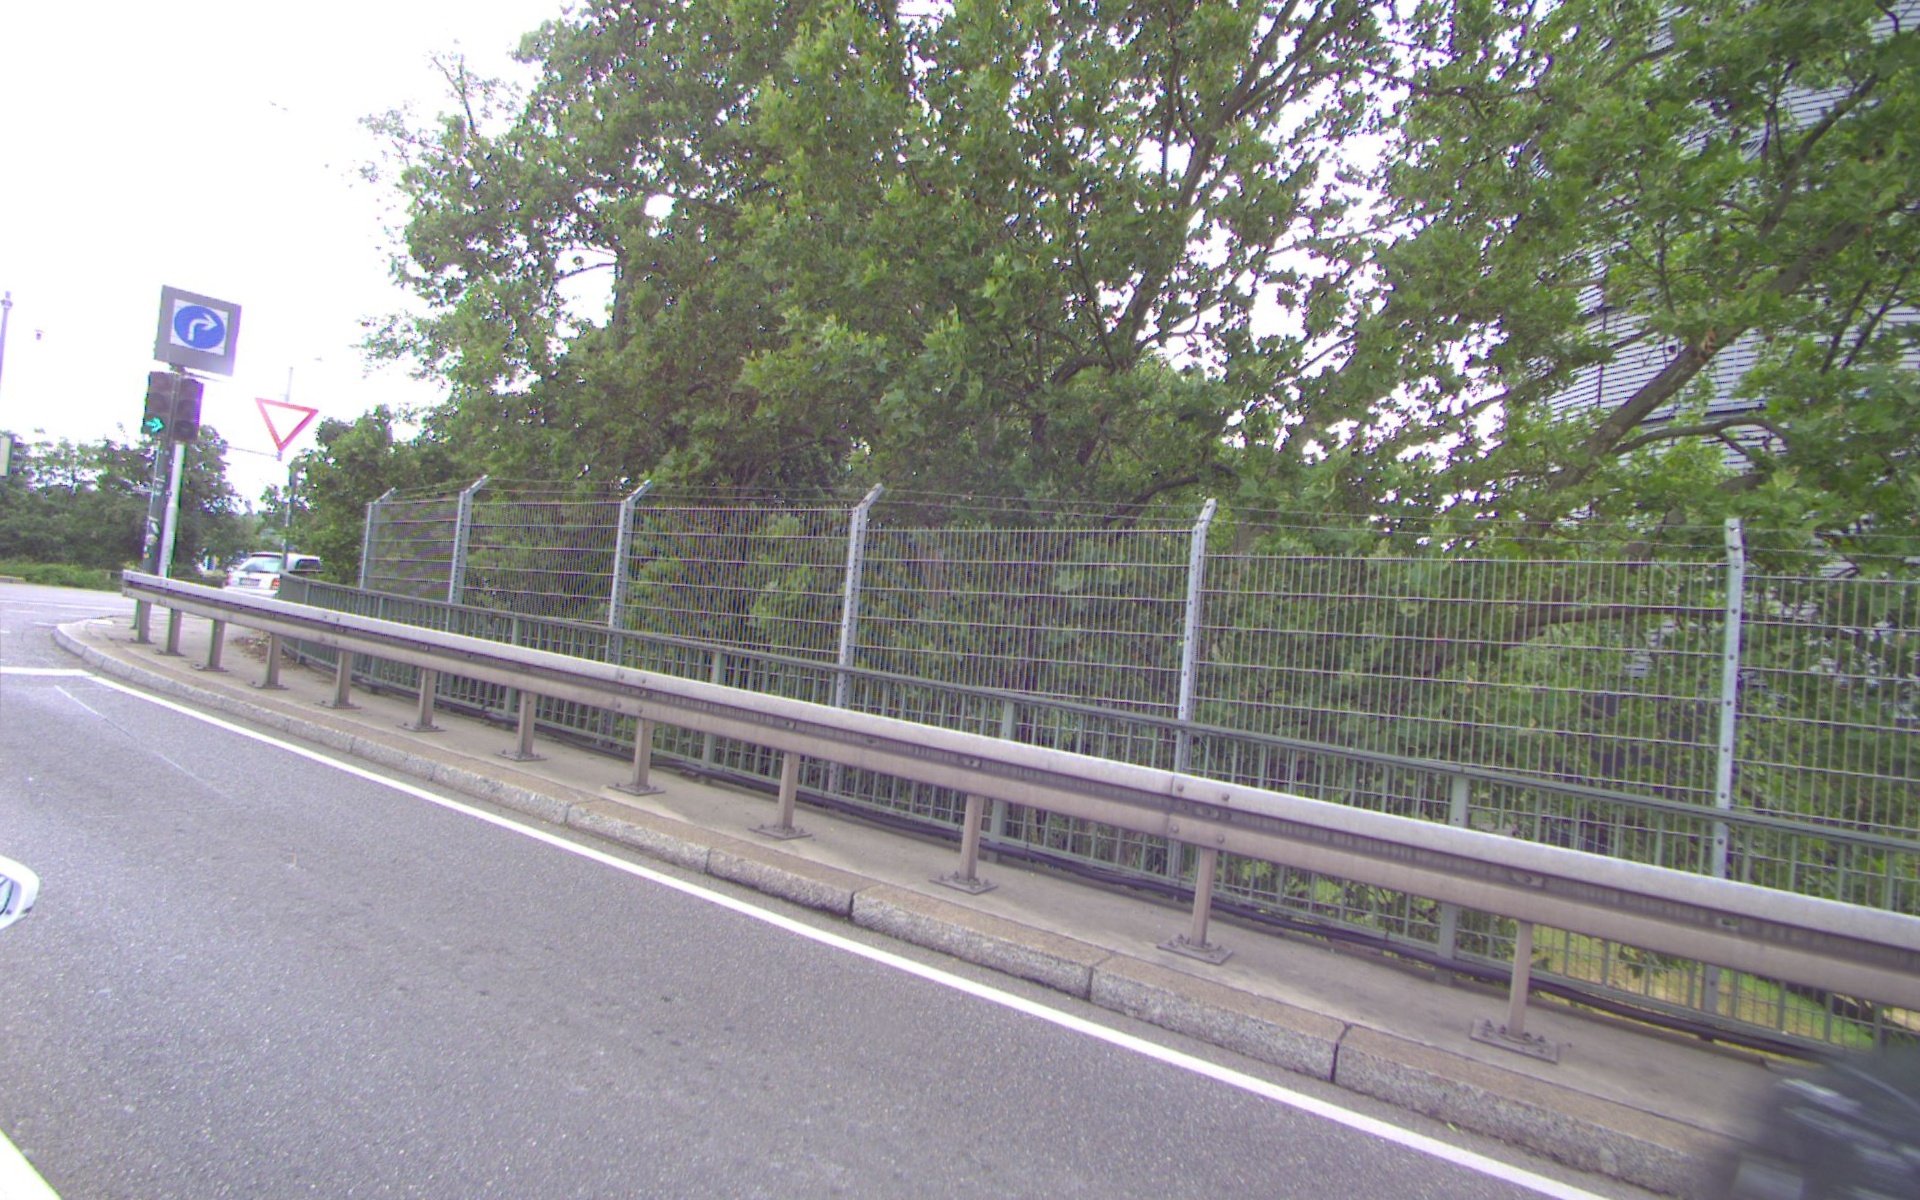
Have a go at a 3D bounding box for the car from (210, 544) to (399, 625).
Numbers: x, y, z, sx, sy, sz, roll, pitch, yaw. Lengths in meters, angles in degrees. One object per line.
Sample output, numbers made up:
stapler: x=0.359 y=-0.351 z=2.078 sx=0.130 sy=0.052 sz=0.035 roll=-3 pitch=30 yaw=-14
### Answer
car: x=-15.085 y=-0.294 z=23.367 sx=1.560 sy=1.448 sz=3.446 roll=7 pitch=-2 yaw=13

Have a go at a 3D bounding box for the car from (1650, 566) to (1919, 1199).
car: x=3.157 y=1.079 z=0.786 sx=4.081 sy=1.672 sz=1.800 roll=7 pitch=-1 yaw=31
